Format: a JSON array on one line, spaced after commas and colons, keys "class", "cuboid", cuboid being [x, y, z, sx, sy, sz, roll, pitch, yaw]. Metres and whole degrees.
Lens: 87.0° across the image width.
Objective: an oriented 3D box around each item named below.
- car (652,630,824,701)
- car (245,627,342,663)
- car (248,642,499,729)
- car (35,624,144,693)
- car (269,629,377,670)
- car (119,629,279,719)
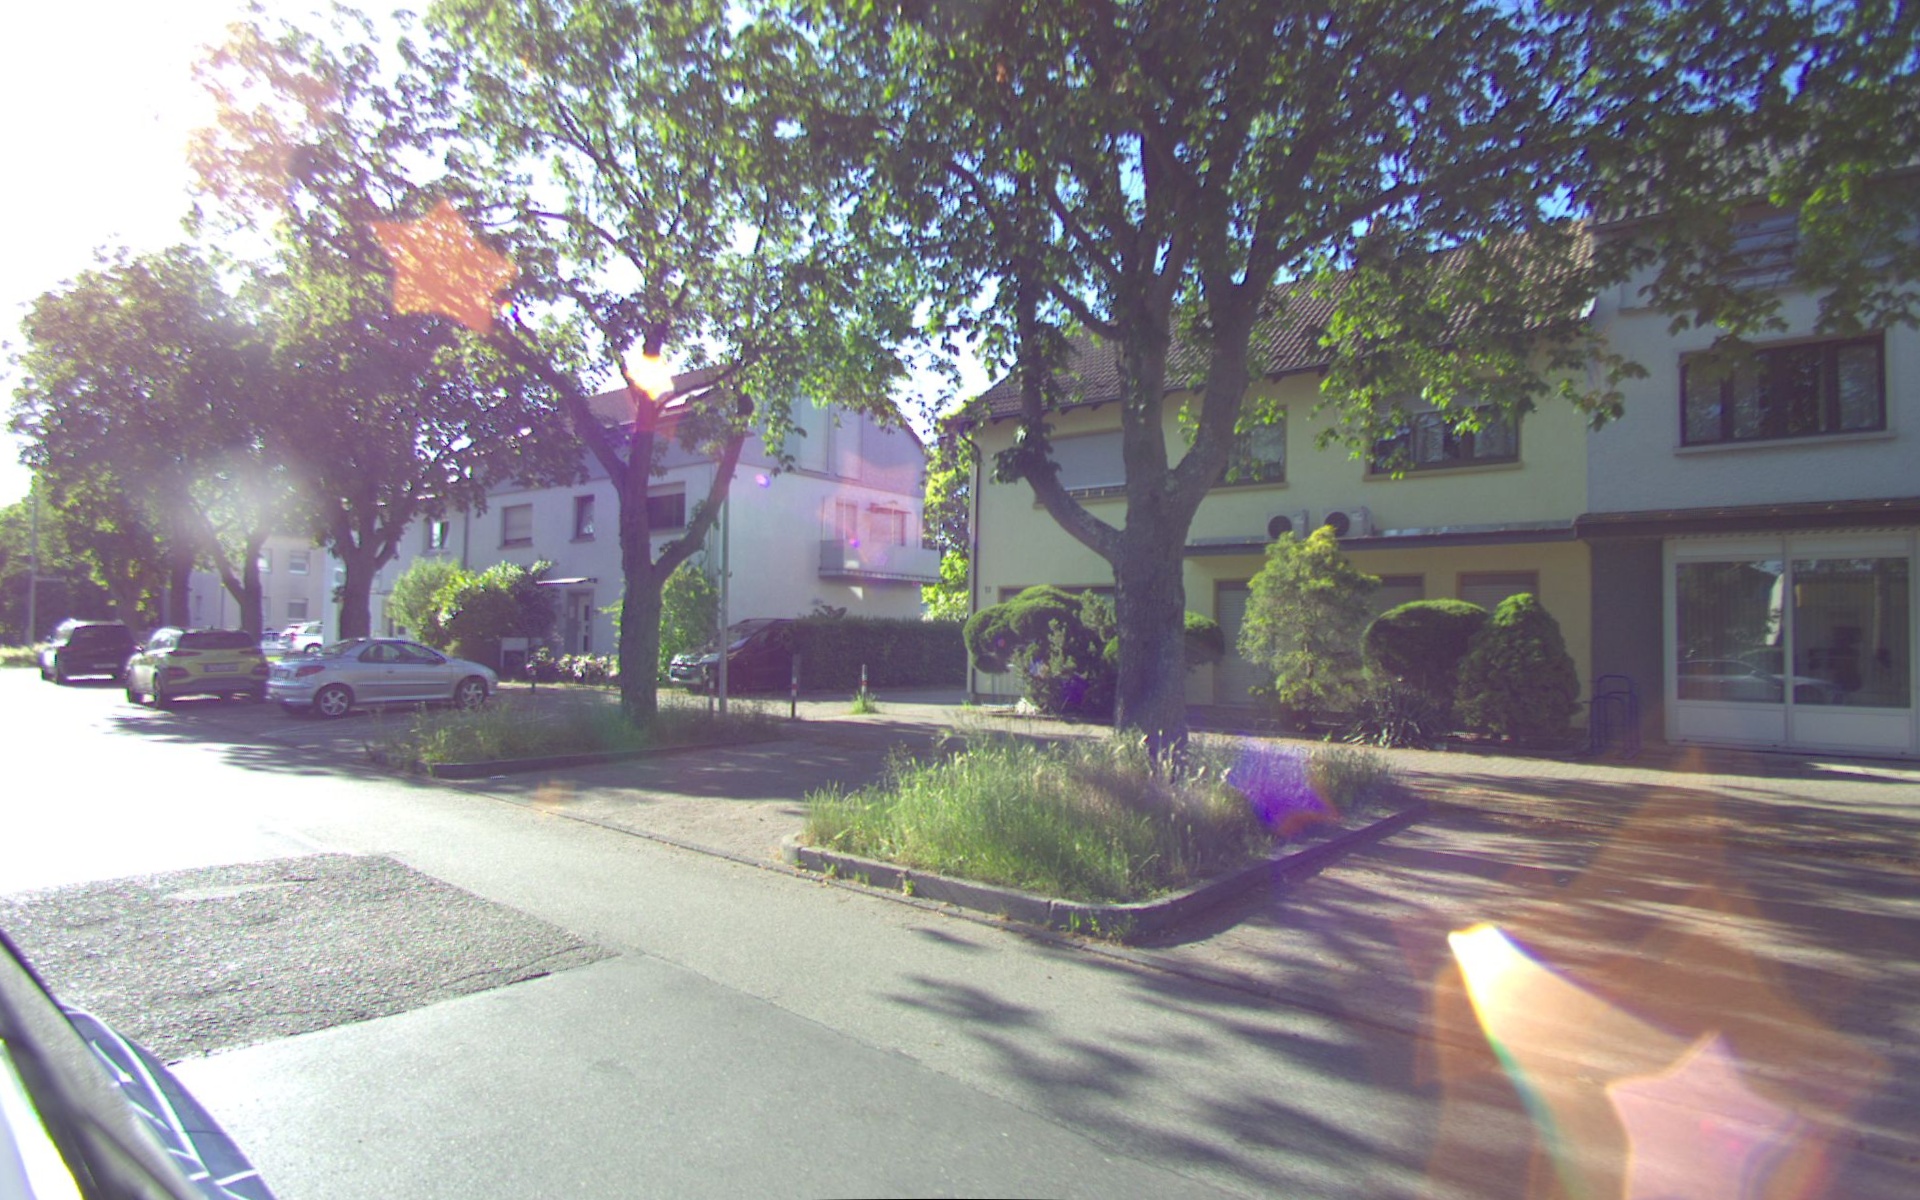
[{"class": "car", "cuboid": [-5.349, 1.627, 24.704, 1.692, 1.577, 3.722, -1, -5, 44]}, {"class": "car", "cuboid": [-35.427, 2.376, 53.846, 1.999, 1.696, 3.947, -1, 0, 40]}, {"class": "car", "cuboid": [-10.643, 1.483, 18.576, 1.621, 1.333, 3.652, -1, -1, 35]}, {"class": "car", "cuboid": [-23.984, 1.576, 27.842, 4.055, 1.746, 1.791, -2, -4, 43]}, {"class": "car", "cuboid": [-30.164, 2.308, 47.993, 1.999, 1.696, 3.947, -1, 0, 40]}, {"class": "car", "cuboid": [-15.420, 1.406, 20.456, 3.695, 1.551, 1.972, -1, 0, 43]}]
